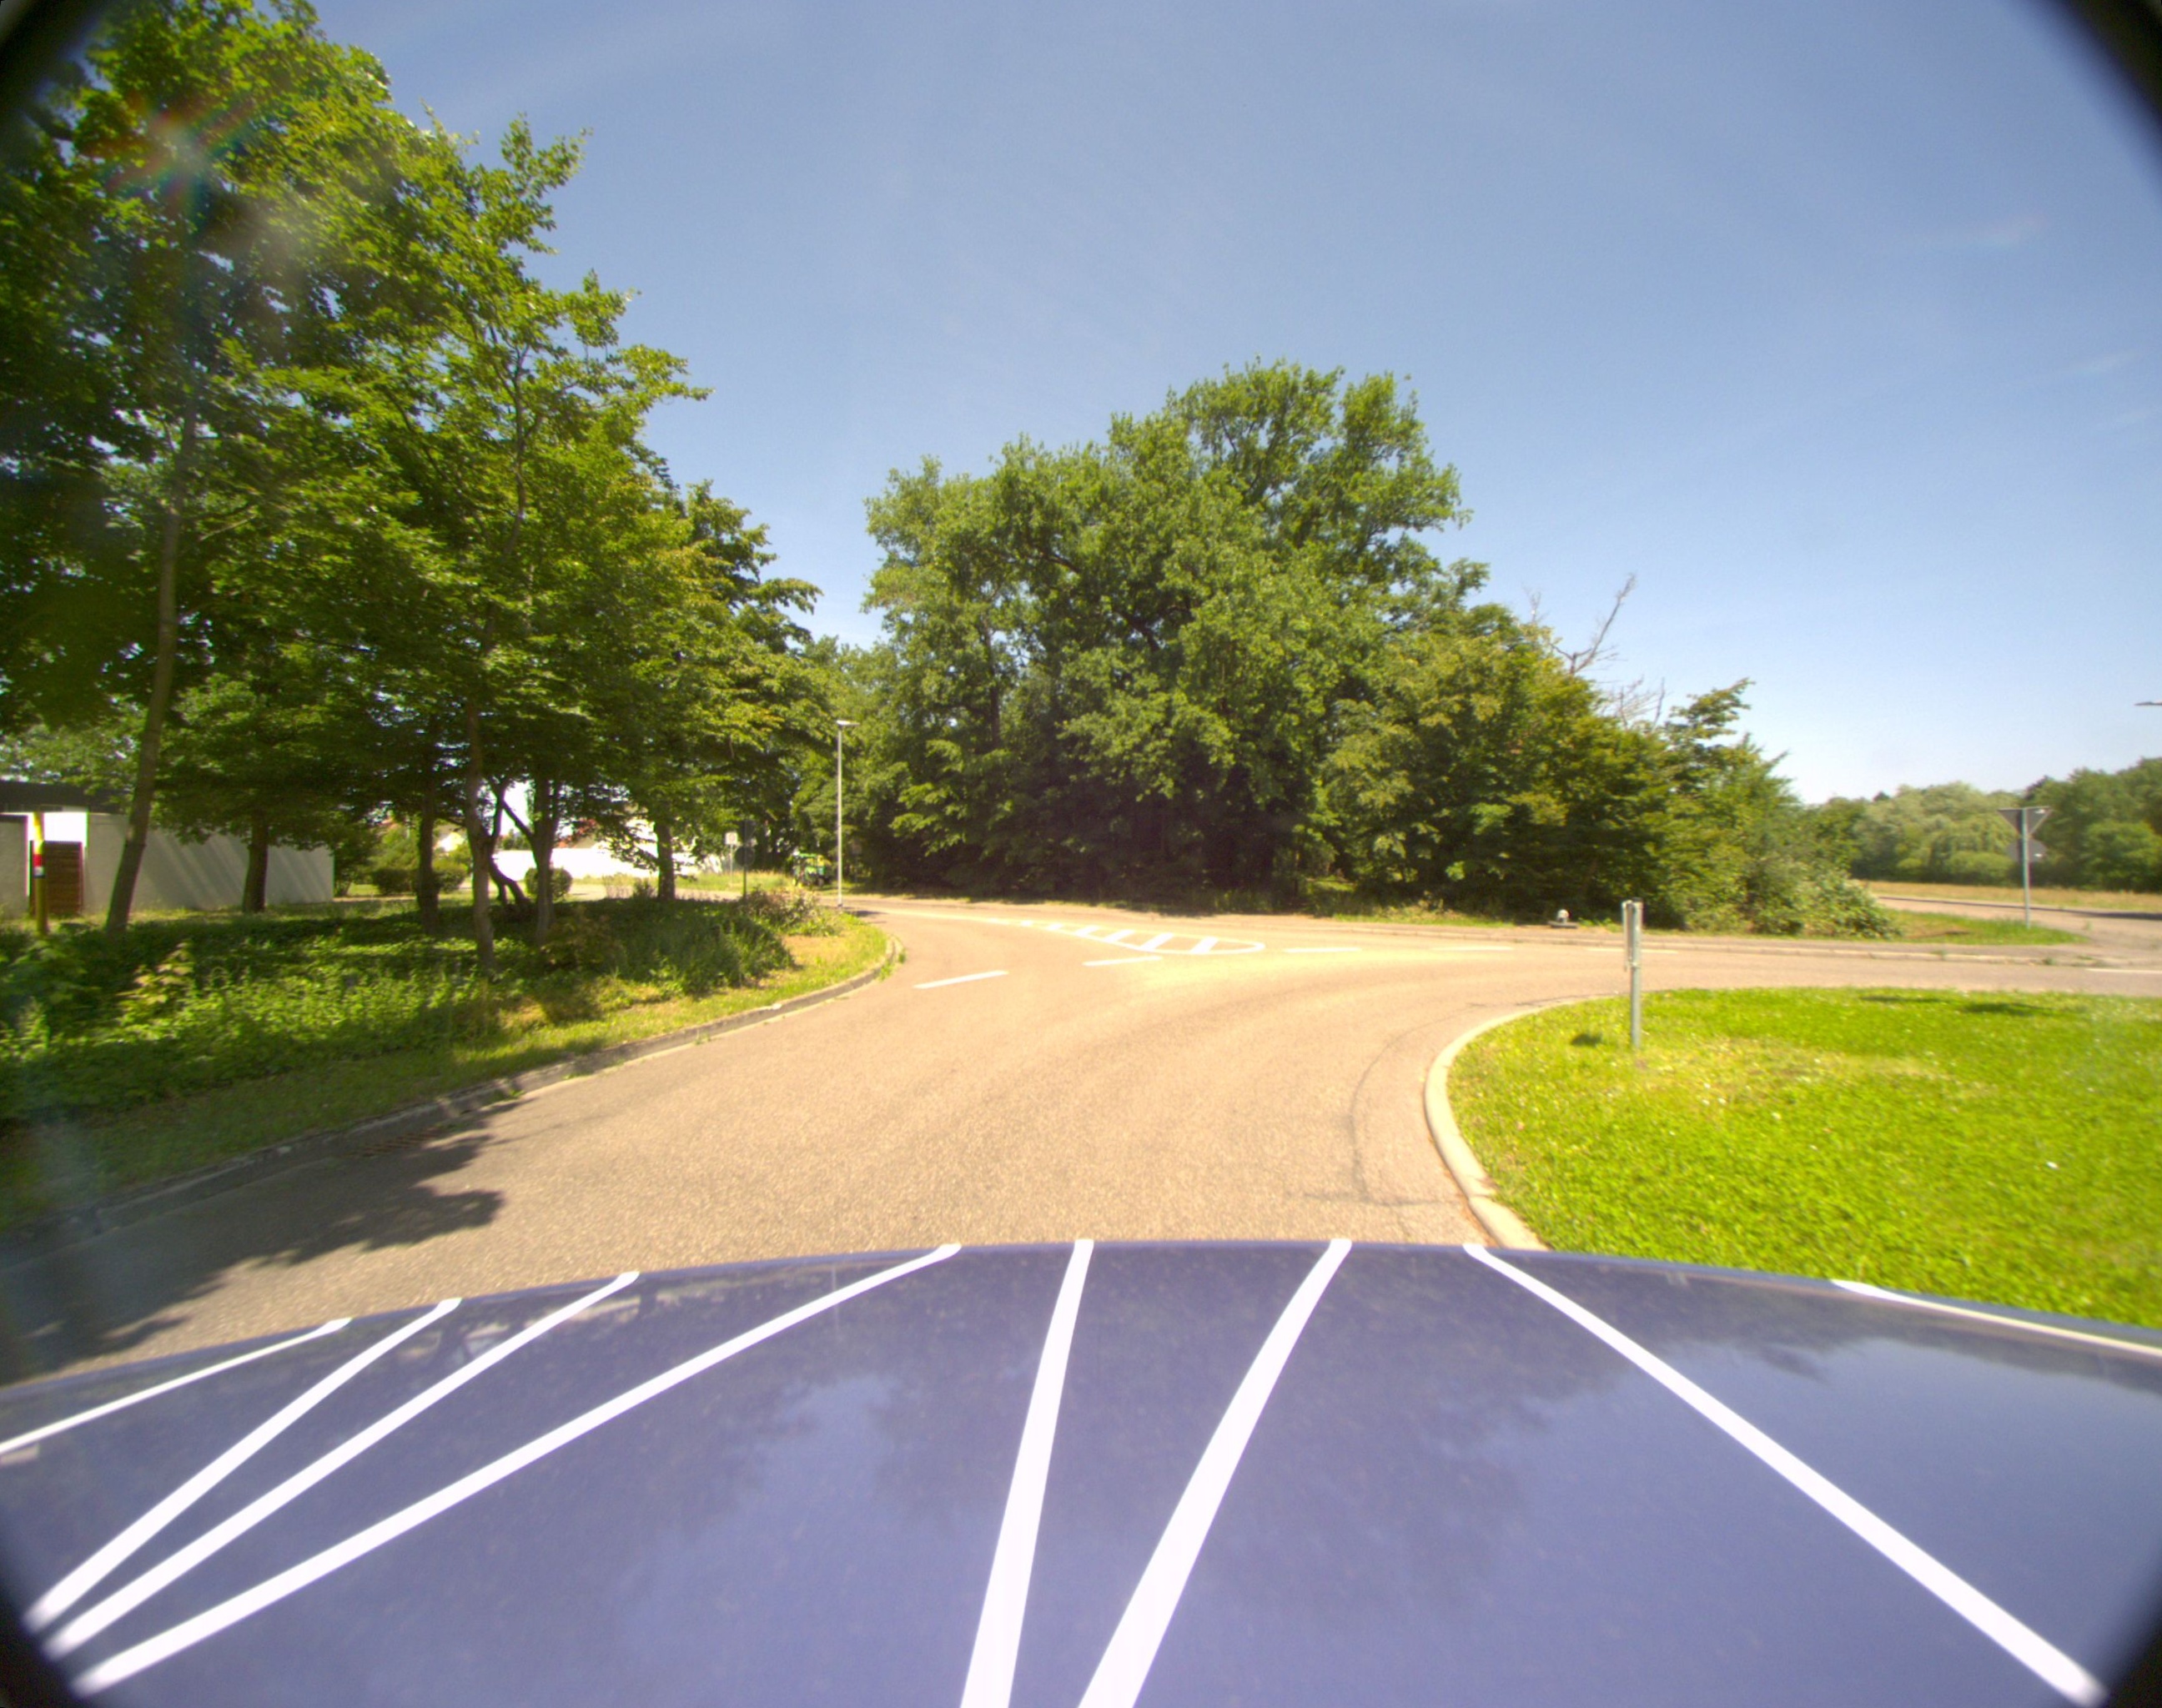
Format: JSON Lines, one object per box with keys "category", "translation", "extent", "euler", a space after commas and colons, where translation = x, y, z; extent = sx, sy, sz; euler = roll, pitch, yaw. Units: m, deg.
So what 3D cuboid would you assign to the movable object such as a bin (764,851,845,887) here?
{"category": "movable object such as a bin", "translation": [-18.330, 0.947, 50.217], "extent": [5.224, 2.263, 2.529], "euler": [0, 0, 36]}
